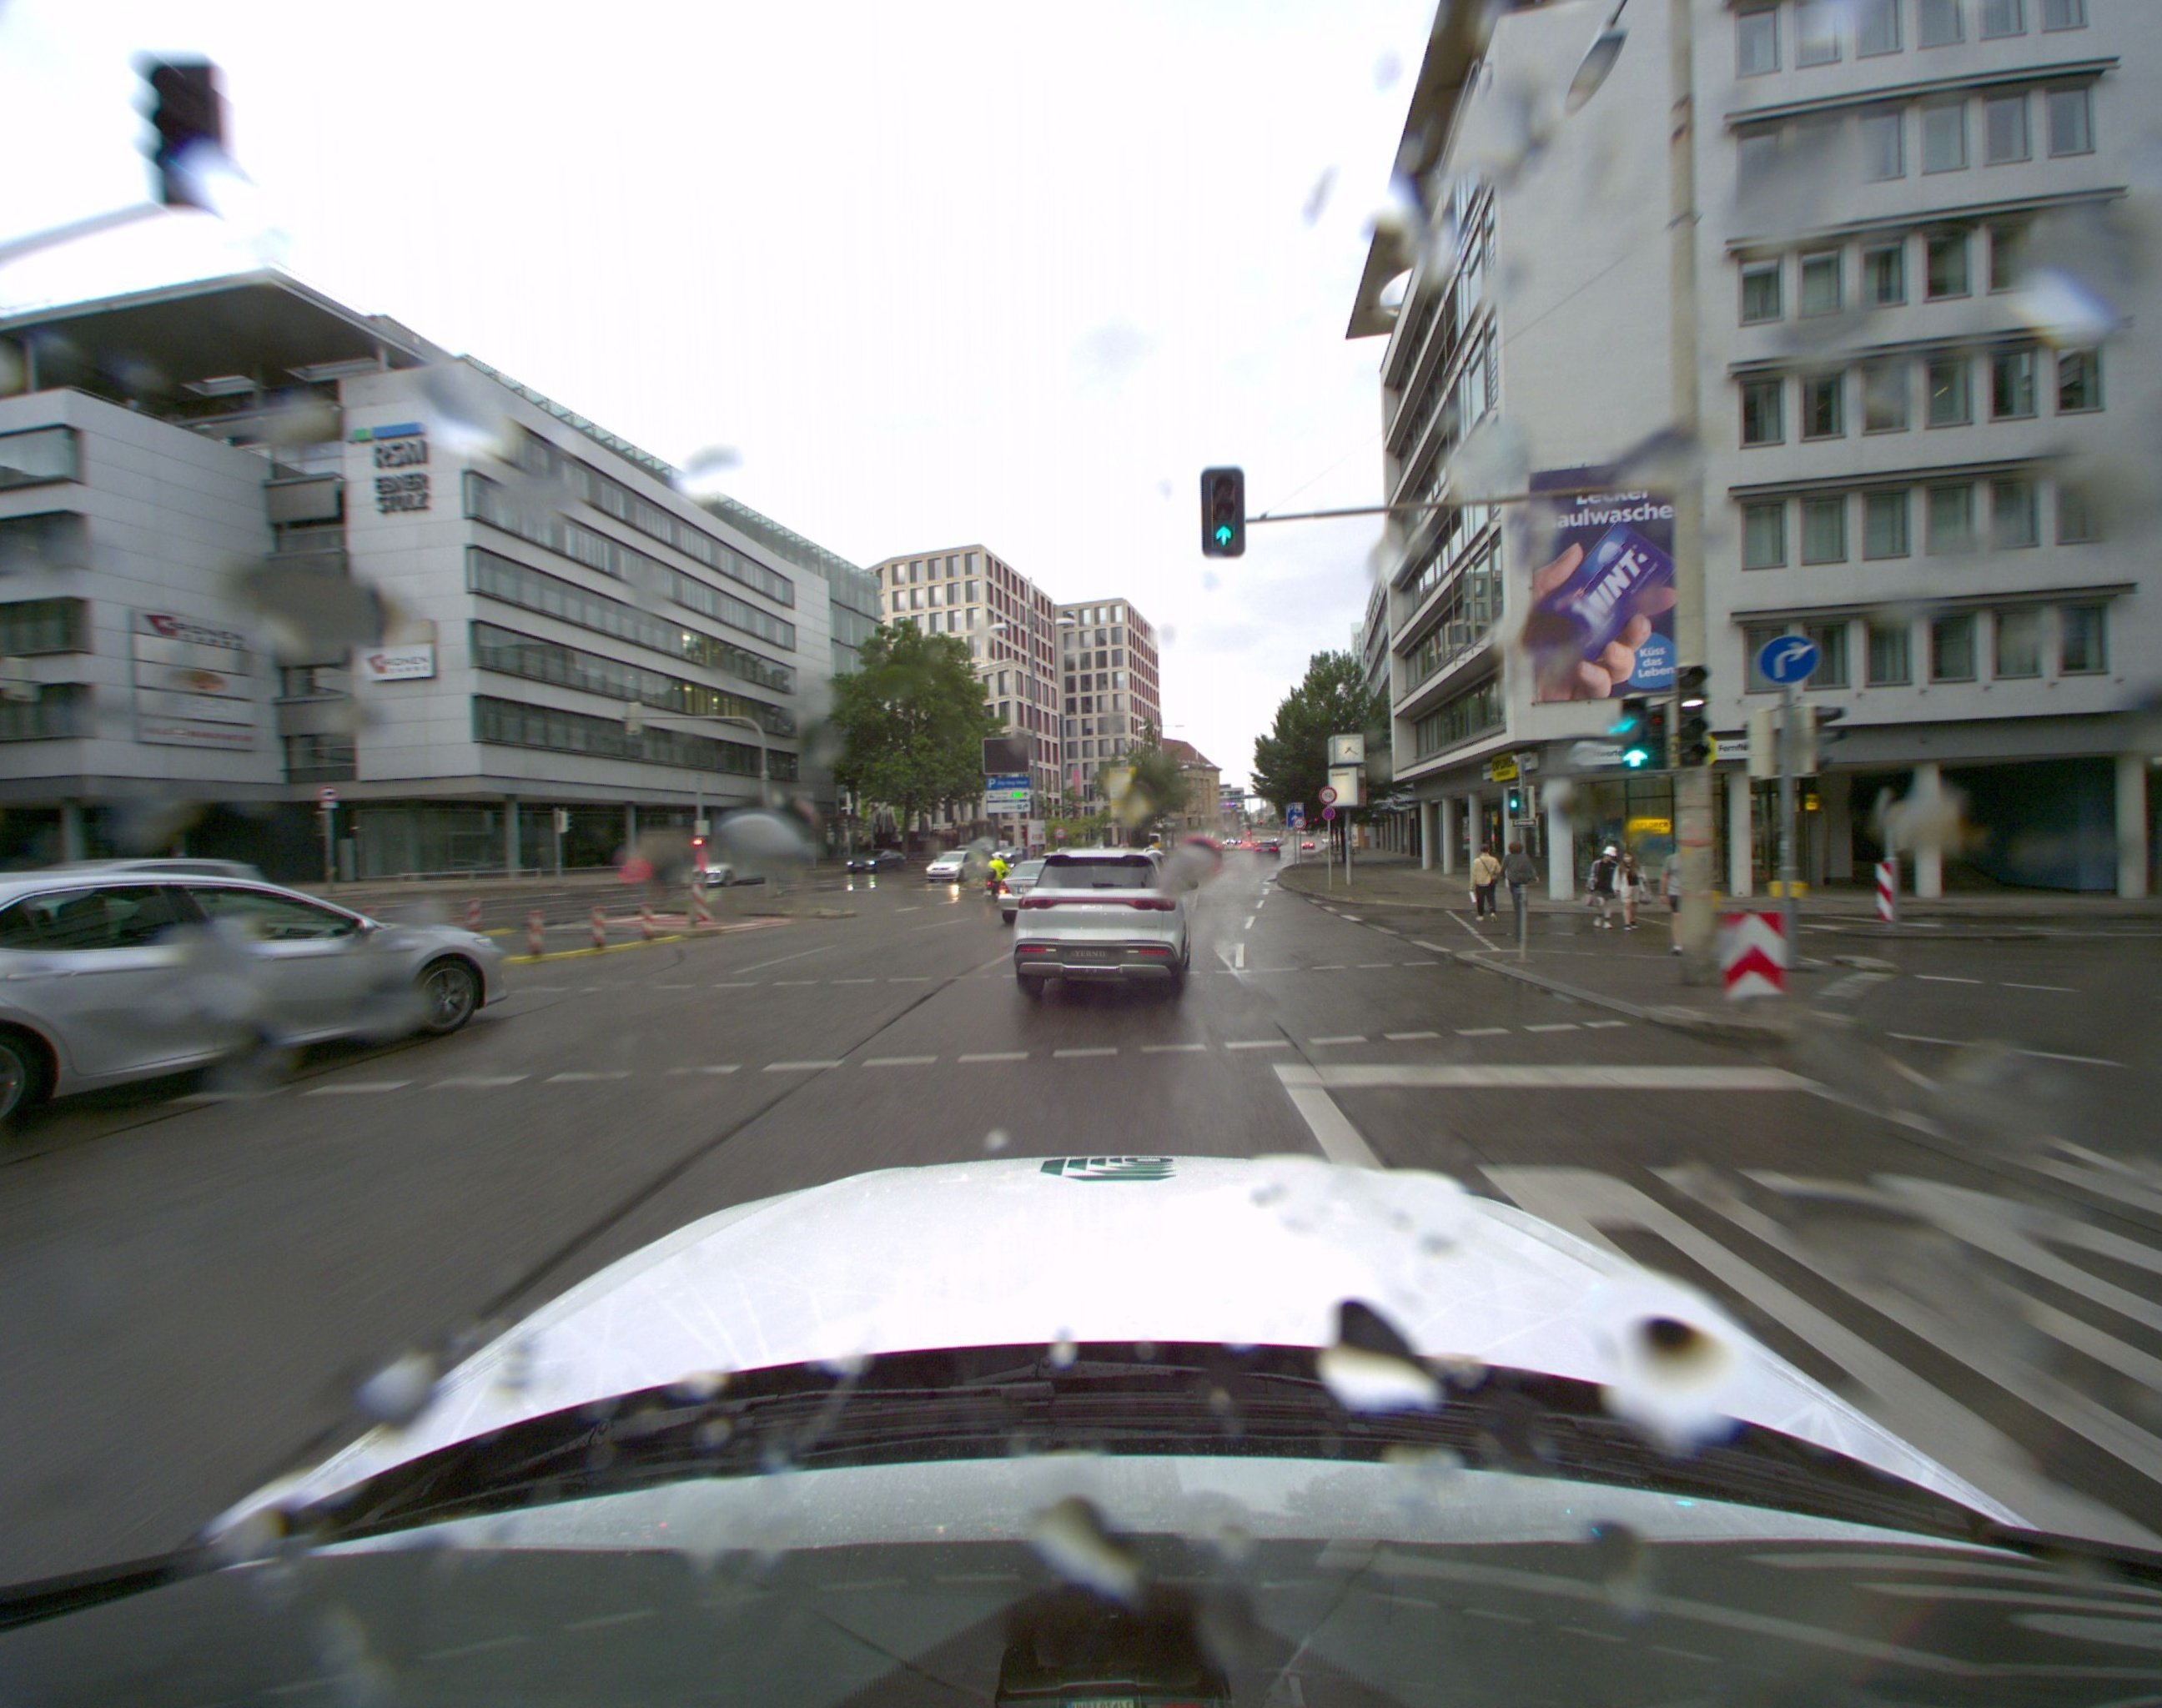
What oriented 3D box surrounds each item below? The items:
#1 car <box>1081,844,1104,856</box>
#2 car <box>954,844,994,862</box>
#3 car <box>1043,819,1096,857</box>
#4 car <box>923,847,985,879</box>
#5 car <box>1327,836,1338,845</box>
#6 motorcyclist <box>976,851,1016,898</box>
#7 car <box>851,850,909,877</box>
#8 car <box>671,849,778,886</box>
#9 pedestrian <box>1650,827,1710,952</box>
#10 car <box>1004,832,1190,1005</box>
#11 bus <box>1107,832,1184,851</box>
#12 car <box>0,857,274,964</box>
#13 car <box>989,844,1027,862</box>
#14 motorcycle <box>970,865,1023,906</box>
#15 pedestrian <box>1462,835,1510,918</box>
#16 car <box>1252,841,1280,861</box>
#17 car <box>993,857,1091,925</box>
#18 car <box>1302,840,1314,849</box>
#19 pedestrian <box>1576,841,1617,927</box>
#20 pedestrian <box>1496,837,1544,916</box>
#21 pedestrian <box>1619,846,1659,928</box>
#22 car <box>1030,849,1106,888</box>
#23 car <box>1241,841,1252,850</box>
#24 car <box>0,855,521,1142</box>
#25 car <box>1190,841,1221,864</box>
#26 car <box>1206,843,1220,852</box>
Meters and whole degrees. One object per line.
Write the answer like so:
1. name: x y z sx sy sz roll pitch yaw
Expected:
1. car: 1.513 -0.584 106.492 1.978 1.488 4.018 -1 1 17
2. car: -9.565 -0.108 73.266 1.978 1.488 4.018 -1 1 17
3. car: -0.618 -0.855 47.252 1.980 2.014 4.865 0 -1 13
4. car: -6.235 0.402 40.299 1.620 1.437 3.922 -1 1 13
5. car: 58.411 -3.081 189.046 1.981 2.014 4.011 0 -1 10
6. motorcyclist: -2.549 0.599 24.536 0.763 1.380 1.124 -1 -1 19
7. car: -12.816 0.568 52.264 1.620 1.559 4.610 -1 1 13
8. car: -16.403 0.574 37.850 1.801 1.510 5.214 -1 1 12
9. pedestrian: 8.906 0.511 12.137 0.662 1.794 0.778 -1 -1 33
10. car: 0.404 0.659 9.991 1.766 1.679 4.009 0 -1 8
11. bus: 14.634 -2.863 185.401 16.840 4.063 4.455 0 -1 14
12. car: -16.681 0.843 13.884 1.637 1.581 4.089 0 0 3
13. car: -6.476 -0.133 72.541 1.978 1.488 4.018 -1 1 17
14. motorcycle: -2.534 0.917 24.589 0.793 1.185 2.038 -1 -1 19
15. pedestrian: 9.050 0.489 18.212 0.744 1.798 0.819 -1 0 10
16. car: 14.581 -0.186 64.126 1.680 1.486 4.019 -1 -1 19
17. car: -0.807 0.807 19.128 1.562 1.407 4.118 0 -1 8
18. car: 39.377 -1.662 141.500 1.679 1.486 4.020 -1 -1 20
19. pedestrian: 10.252 0.586 16.202 0.662 1.655 0.657 -1 -1 33
20. pedestrian: 10.268 0.506 19.057 0.744 1.798 0.819 -1 0 10
21. pedestrian: 10.835 0.625 15.834 0.618 1.543 0.657 -1 -1 33
22. car: -0.452 0.573 32.469 1.692 1.486 4.020 -1 -1 20
23. car: 28.747 -1.470 141.356 1.875 1.643 4.014 -1 0 12
24. car: -6.570 0.773 5.546 1.856 1.533 4.785 0 0 6
25. car: 8.463 -0.063 55.288 1.559 1.486 4.017 -1 -1 16
26. car: 24.358 -1.188 149.877 1.978 1.486 4.019 -1 1 18
